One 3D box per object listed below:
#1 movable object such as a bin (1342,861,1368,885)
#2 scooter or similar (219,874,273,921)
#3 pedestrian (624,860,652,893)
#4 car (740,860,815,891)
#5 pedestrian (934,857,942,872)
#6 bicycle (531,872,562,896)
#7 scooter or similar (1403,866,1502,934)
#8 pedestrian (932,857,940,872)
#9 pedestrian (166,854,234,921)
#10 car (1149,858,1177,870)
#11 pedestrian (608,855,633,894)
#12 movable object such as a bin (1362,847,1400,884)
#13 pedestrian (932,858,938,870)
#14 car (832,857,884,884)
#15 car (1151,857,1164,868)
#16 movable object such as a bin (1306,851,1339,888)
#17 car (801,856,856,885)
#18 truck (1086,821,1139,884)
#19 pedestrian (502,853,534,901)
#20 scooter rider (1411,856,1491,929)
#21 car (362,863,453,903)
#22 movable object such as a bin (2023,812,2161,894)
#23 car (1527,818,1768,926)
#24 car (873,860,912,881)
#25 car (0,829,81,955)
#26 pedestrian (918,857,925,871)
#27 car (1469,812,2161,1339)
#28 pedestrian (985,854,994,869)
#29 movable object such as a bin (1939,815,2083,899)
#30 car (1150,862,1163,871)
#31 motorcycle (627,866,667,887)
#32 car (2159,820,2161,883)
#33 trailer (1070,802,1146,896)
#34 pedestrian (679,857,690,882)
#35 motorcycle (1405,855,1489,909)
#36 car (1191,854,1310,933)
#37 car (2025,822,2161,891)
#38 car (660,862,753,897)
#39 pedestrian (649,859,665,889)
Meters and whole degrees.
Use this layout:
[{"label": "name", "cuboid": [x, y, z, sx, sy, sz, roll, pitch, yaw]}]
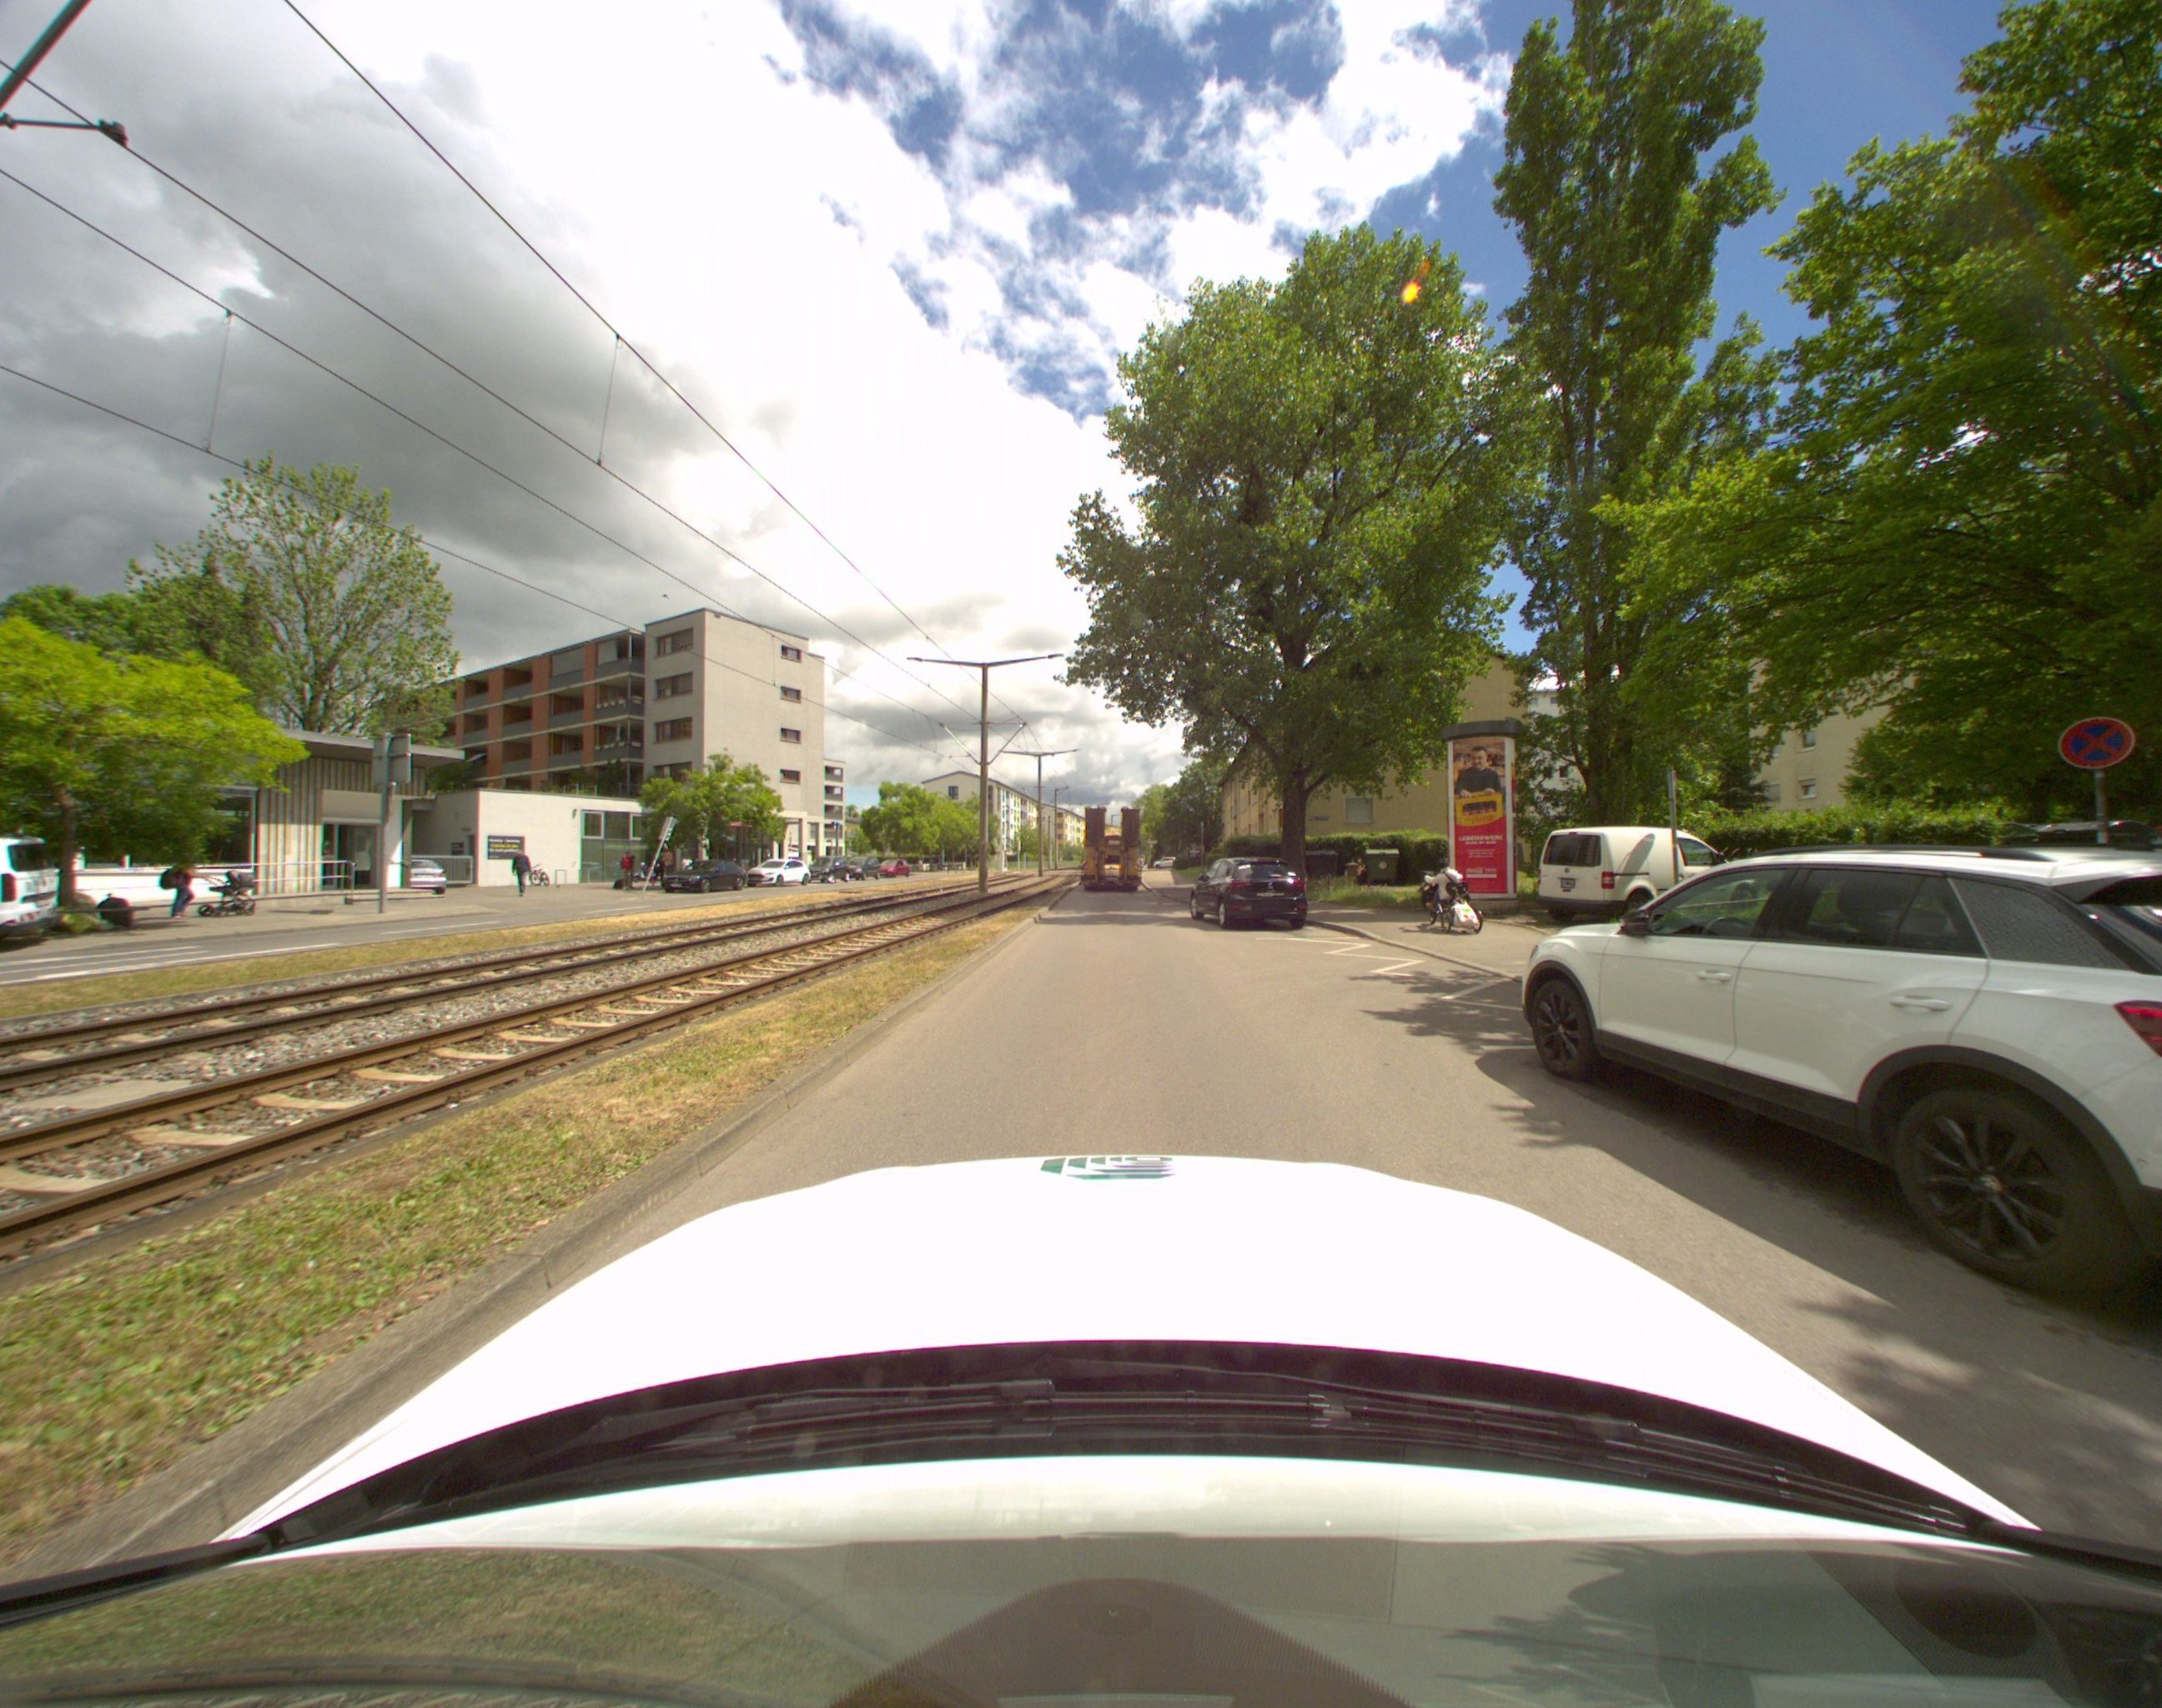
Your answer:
[{"label": "movable object such as a bin", "cuboid": [11.064, 0.747, 32.904, 0.799, 0.915, 0.762, -2, 0, 2]}, {"label": "scooter or similar", "cuboid": [-21.302, 1.091, 20.790, 0.575, 1.124, 0.772, 2, 2, 15]}, {"label": "pedestrian", "cuboid": [-21.456, 1.069, 39.455, 0.596, 1.534, 0.977, -2, 0, 17]}, {"label": "car", "cuboid": [-16.399, 1.151, 44.218, 1.743, 1.475, 4.412, -2, 0, 10]}, {"label": "pedestrian", "cuboid": [-15.328, 1.152, 87.288, 0.618, 1.573, 0.560, -2, 0, 15]}, {"label": "bicycle", "cuboid": [-27.793, 1.561, 42.358, 1.948, 1.212, 0.673, -2, 0, 36]}, {"label": "scooter or similar", "cuboid": [6.744, 0.808, 14.924, 0.886, 1.064, 2.115, -2, 1, 2]}, {"label": "pedestrian", "cuboid": [-15.414, 1.161, 86.568, 0.618, 1.573, 0.701, -2, 0, 16]}, {"label": "pedestrian", "cuboid": [-21.544, 0.803, 19.925, 0.510, 1.571, 0.989, 2, 1, 15]}, {"label": "car", "cuboid": [11.308, 1.329, 112.324, 3.570, 1.584, 2.009, -2, -1, 16]}, {"label": "pedestrian", "cuboid": [-21.519, 0.945, 38.062, 0.608, 1.792, 0.844, -2, 0, 4]}, {"label": "movable object such as a bin", "cuboid": [12.122, 0.462, 32.953, 1.164, 1.439, 1.058, -2, 0, 2]}, {"label": "pedestrian", "cuboid": [-15.413, 1.056, 85.770, 0.501, 1.267, 0.497, -2, 0, -19]}, {"label": "car", "cuboid": [-15.284, 1.099, 56.007, 1.983, 1.648, 4.108, -2, 0, 7]}, {"label": "car", "cuboid": [11.866, 1.353, 126.541, 1.984, 1.618, 4.005, -2, 0, 4]}, {"label": "movable object such as a bin", "cuboid": [9.732, 0.602, 32.873, 1.094, 1.439, 0.762, -2, 0, 2]}, {"label": "car", "cuboid": [-15.559, 0.994, 50.353, 1.986, 1.662, 4.102, 0, 0, 2]}, {"label": "truck", "cuboid": [1.887, -0.096, 48.399, 2.822, 3.330, 7.989, -2, 0, 2]}, {"label": "pedestrian", "cuboid": [-21.646, 0.858, 31.323, 0.845, 1.792, 0.866, -2, 0, -27]}, {"label": "scooter rider", "cuboid": [6.742, 0.671, 14.894, 0.882, 1.220, 1.283, -2, 1, 2]}, {"label": "car", "cuboid": [-26.963, 1.136, 32.574, 4.300, 1.442, 2.013, -1, 0, 40]}, {"label": "movable object such as a bin", "cuboid": [18.935, -0.020, 15.241, 1.111, 1.429, 1.286, -2, 0, 1]}, {"label": "car", "cuboid": [10.895, 0.285, 15.694, 4.000, 1.823, 1.799, -2, 0, -19]}, {"label": "car", "cuboid": [-14.538, 1.247, 63.048, 1.603, 1.426, 3.433, -2, 0, 11]}, {"label": "car", "cuboid": [-20.563, 0.717, 13.417, 4.784, 2.156, 1.885, -2, 0, -37]}, {"label": "pedestrian", "cuboid": [-18.621, 1.152, 94.995, 0.539, 1.547, 0.532, -2, 0, 25]}, {"label": "car", "cuboid": [4.061, 0.621, 4.301, 1.778, 1.565, 4.568, -2, 0, -1]}, {"label": "pedestrian", "cuboid": [-10.170, 0.827, 90.110, 0.745, 1.661, 0.871, -2, 0, 8]}, {"label": "movable object such as a bin", "cuboid": [16.751, 0.049, 14.716, 1.111, 1.429, 1.286, -2, 0, 1]}, {"label": "car", "cuboid": [12.137, 2.025, 131.270, 1.984, 1.387, 4.005, -2, 0, 4]}, {"label": "motorcycle", "cuboid": [-25.448, 1.322, 47.749, 1.885, 1.178, 0.742, -2, 0, 1]}, {"label": "car", "cuboid": [25.991, -0.059, 17.026, 1.736, 1.470, 4.004, -2, 0, 4]}, {"label": "trailer", "cuboid": [1.364, -0.249, 39.398, 3.038, 3.772, 11.619, -2, 0, 2]}, {"label": "pedestrian", "cuboid": [-23.028, 0.895, 47.332, 0.499, 1.460, 0.556, -2, 0, -23]}, {"label": "motorcycle", "cuboid": [8.739, 0.646, 19.456, 1.800, 1.210, 0.708, -2, 0, -19]}, {"label": "car", "cuboid": [3.531, 0.758, 17.650, 1.809, 1.448, 3.827, -2, 0, 1]}, {"label": "car", "cuboid": [23.795, 0.025, 17.887, 1.734, 1.443, 4.007, -2, 0, 6]}, {"label": "car", "cuboid": [-16.952, 1.115, 37.145, 1.725, 1.428, 4.389, 2, 0, 7]}, {"label": "pedestrian", "cuboid": [-22.580, 1.074, 43.400, 0.666, 1.573, 0.683, -2, 0, -23]}]
